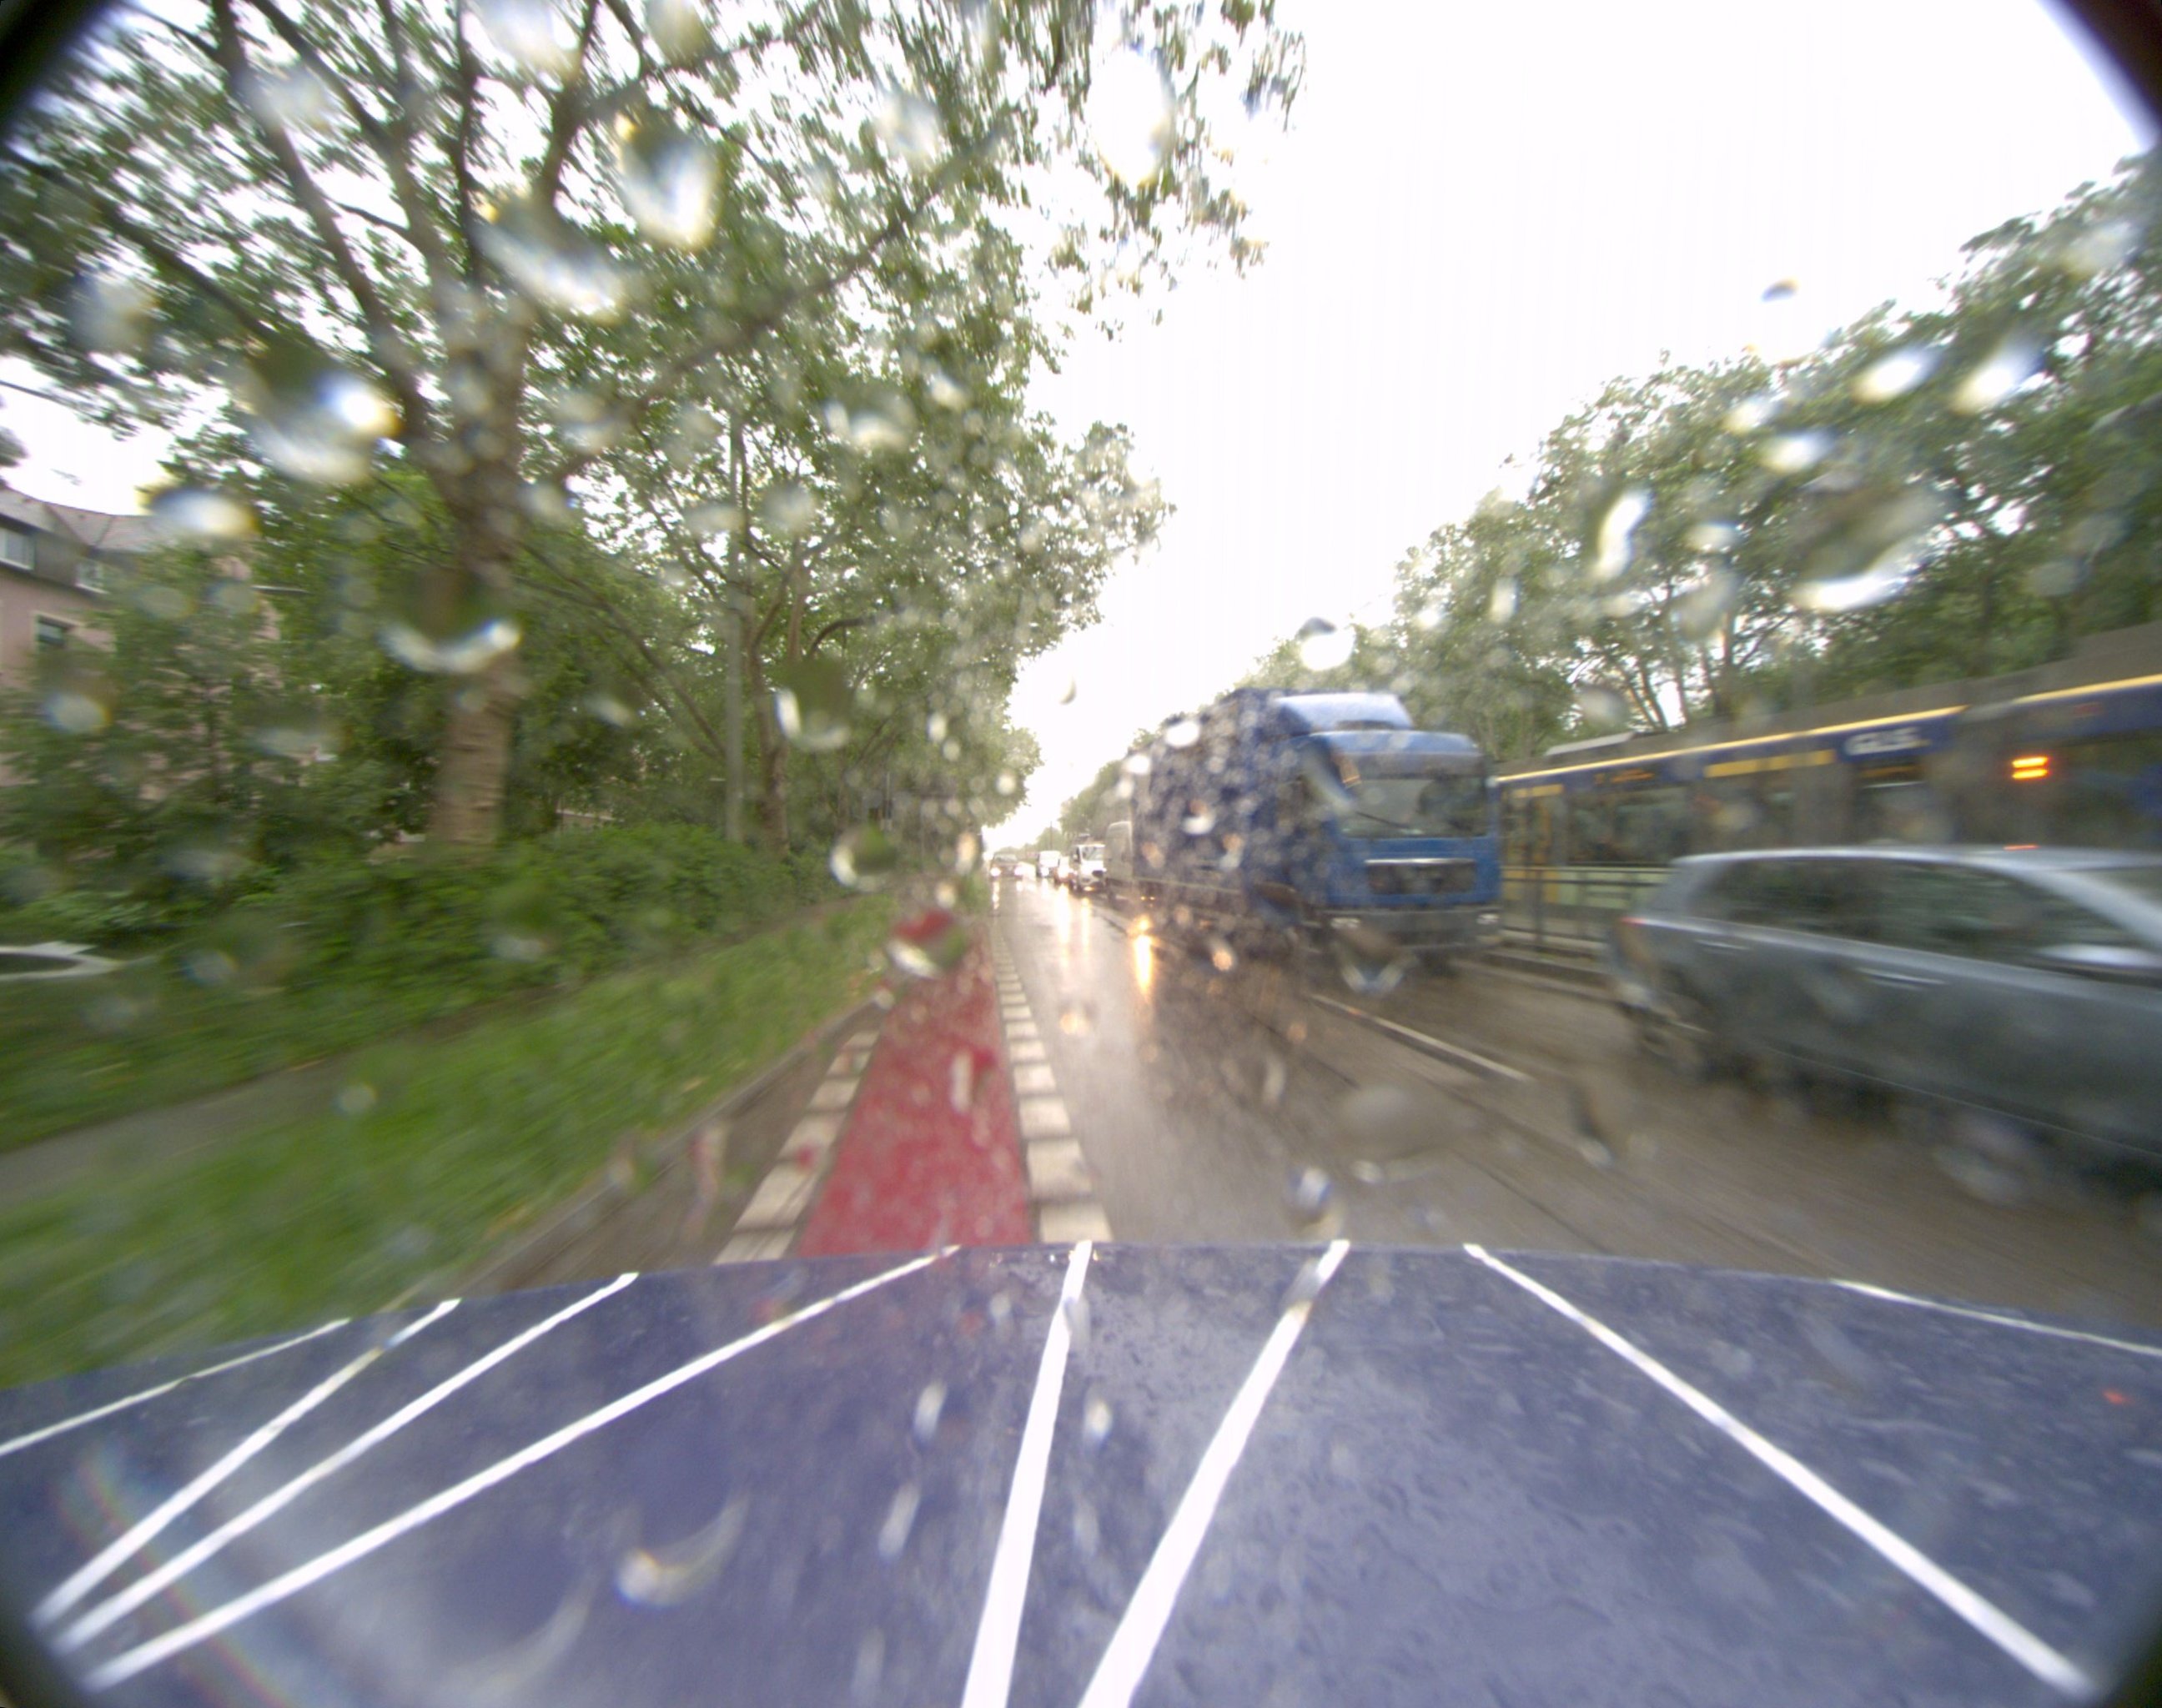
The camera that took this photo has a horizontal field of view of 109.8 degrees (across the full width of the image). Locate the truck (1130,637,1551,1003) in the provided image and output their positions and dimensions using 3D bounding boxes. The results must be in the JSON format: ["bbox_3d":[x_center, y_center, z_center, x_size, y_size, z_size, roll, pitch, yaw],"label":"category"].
[{"bbox_3d":[3.176,-0.367,13.082,2.547,3.866,9.803,0,0,-9],"label":"truck"}]

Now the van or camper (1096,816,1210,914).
[{"bbox_3d":[2.027,0.270,23.783,2.000,2.556,6.426,-3,1,-8],"label":"van or camper"}]

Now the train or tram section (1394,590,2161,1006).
[{"bbox_3d":[10.174,-0.577,11.608,3.524,3.492,13.649,-3,1,-7],"label":"train or tram section"}]

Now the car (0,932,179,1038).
[{"bbox_3d":[-19.771,2.465,13.837,4.007,1.557,1.994,-3,1,-42],"label":"car"}]

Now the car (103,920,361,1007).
[{"bbox_3d":[-20.615,2.585,18.757,4.007,1.455,1.907,-3,1,-42],"label":"car"}]

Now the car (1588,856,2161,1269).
[{"bbox_3d":[4.862,0.784,3.534,1.896,1.478,4.074,-2,1,-9],"label":"car"}]

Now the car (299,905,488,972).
[{"bbox_3d":[-20.374,2.433,22.701,4.007,1.455,1.833,-3,1,-42],"label":"car"}]

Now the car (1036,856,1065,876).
[{"bbox_3d":[-2.073,0.772,50.797,1.468,1.185,3.612,-2,1,-8],"label":"car"}]

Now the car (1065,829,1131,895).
[{"bbox_3d":[0.587,0.274,31.835,1.999,2.412,5.723,-3,1,-5],"label":"car"}]

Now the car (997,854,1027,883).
[{"bbox_3d":[-4.343,0.882,47.943,1.757,1.657,3.676,-2,1,-5],"label":"car"}]

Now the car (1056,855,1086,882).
[{"bbox_3d":[-0.515,0.737,40.290,1.467,1.265,3.615,-3,1,0],"label":"car"}]
